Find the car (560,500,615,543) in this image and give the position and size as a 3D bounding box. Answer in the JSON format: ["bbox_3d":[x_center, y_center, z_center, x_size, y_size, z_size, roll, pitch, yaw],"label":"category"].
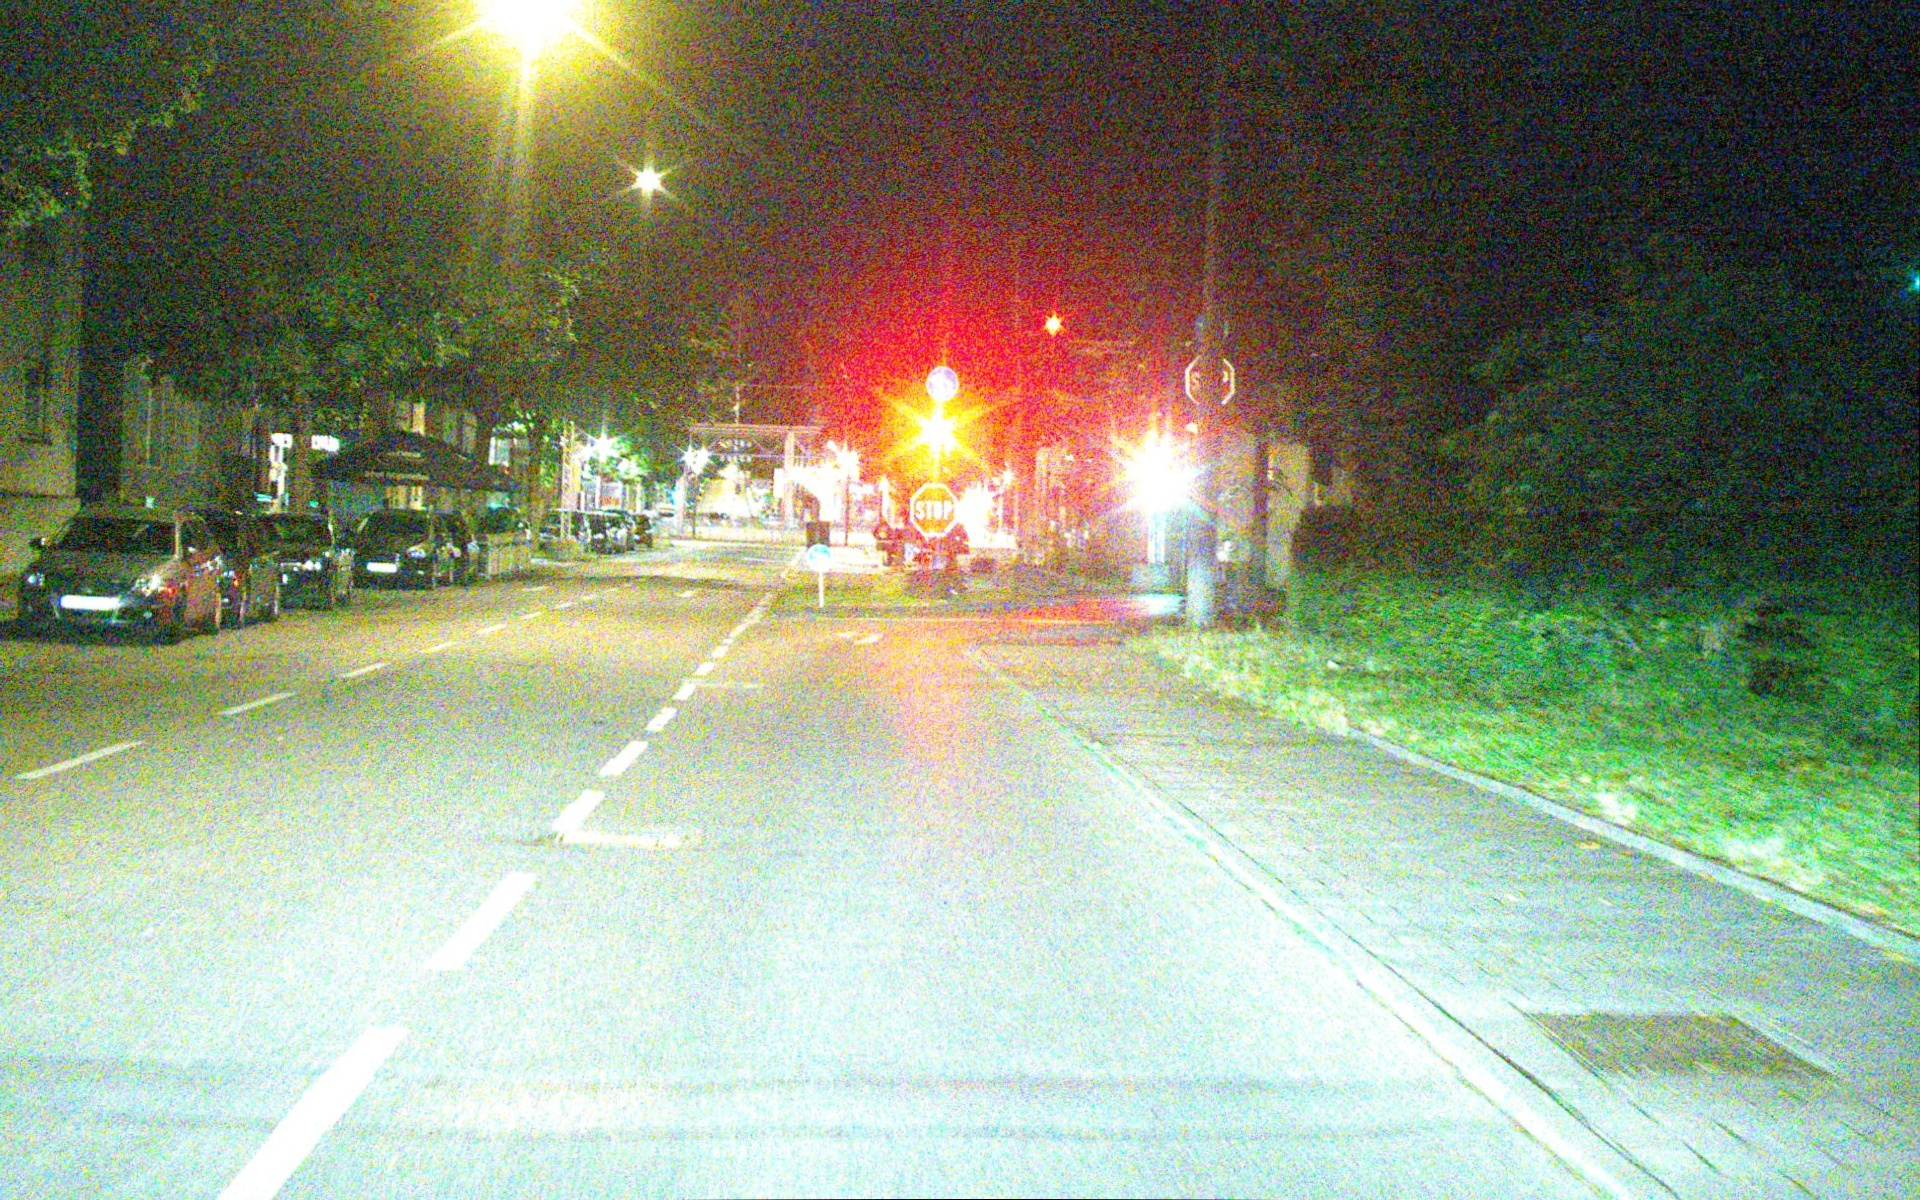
[{"bbox_3d":[-13.173,-2.779,121.787,1.651,1.426,4.001,1,1,-2],"label":"car"}]

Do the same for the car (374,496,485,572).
[{"bbox_3d":[-10.938,-1.366,71.151,1.803,1.476,4.324,2,1,-3],"label":"car"}]

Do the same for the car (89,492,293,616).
[{"bbox_3d":[-9.925,-0.613,44.678,1.768,1.480,4.864,1,1,-3],"label":"car"}]

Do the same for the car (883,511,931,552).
[{"bbox_3d":[-1.920,-2.478,124.704,1.651,1.426,4.000,1,1,-1],"label":"car"}]

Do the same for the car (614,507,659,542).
[{"bbox_3d":[-13.952,-3.261,148.409,1.651,1.426,4.001,1,1,-2],"label":"car"}]

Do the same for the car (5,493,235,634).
[{"bbox_3d":[-9.606,-0.446,39.656,1.768,1.480,4.769,1,1,-4],"label":"car"}]

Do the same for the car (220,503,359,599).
[{"bbox_3d":[-10.292,-0.773,53.011,1.622,1.378,4.453,1,1,-5],"label":"car"}]

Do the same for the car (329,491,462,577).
[{"bbox_3d":[-10.821,-1.294,66.157,1.899,1.466,4.453,4,2,-2],"label":"car"}]

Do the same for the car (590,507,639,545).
[{"bbox_3d":[-13.515,-2.895,134.682,1.651,1.426,4.001,1,1,-2],"label":"car"}]
